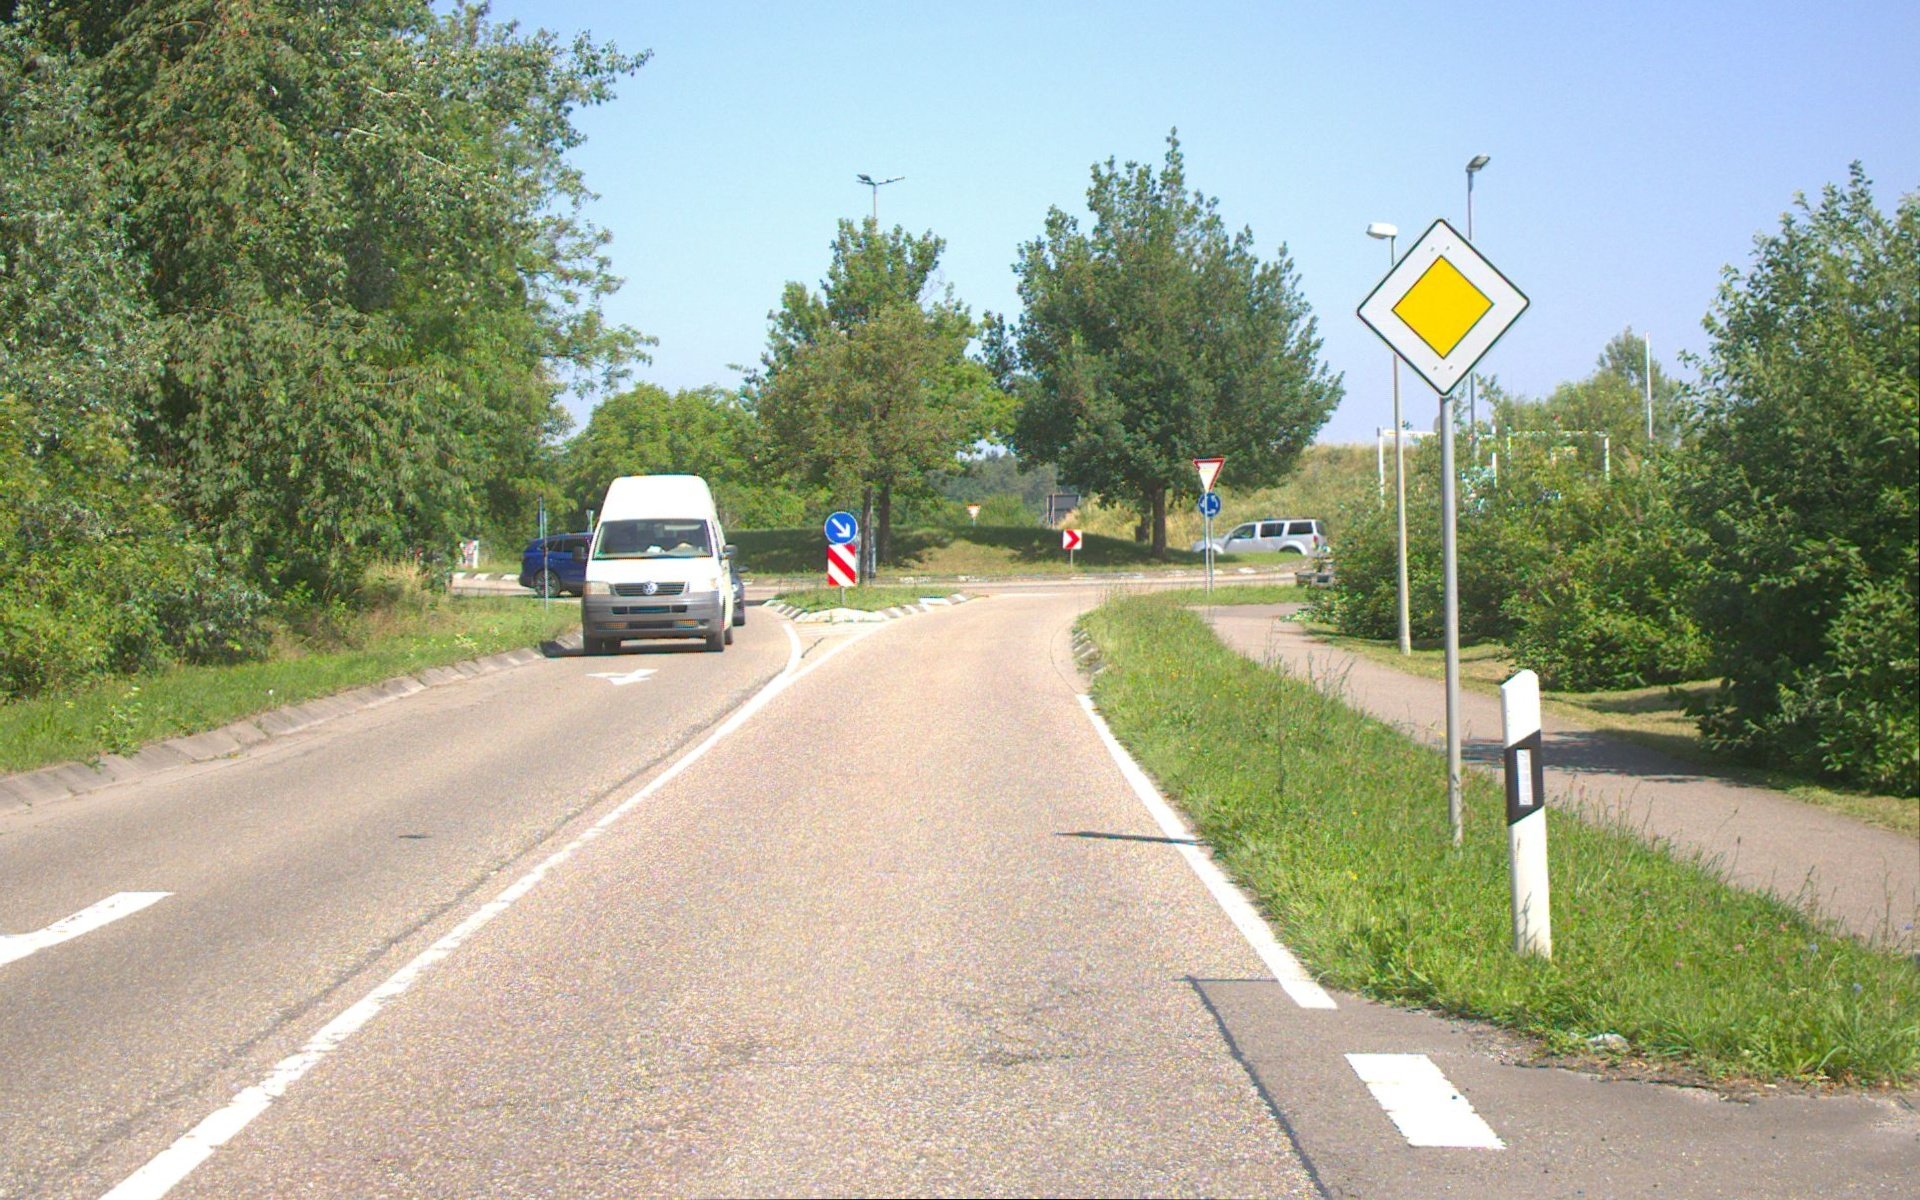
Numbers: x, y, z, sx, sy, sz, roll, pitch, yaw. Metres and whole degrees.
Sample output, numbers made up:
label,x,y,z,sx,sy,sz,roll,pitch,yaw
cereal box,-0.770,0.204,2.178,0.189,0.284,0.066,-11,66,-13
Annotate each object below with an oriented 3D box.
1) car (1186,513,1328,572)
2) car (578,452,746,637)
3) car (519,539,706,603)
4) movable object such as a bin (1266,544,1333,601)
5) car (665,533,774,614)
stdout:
label,x,y,z,sx,sy,sz,roll,pitch,yaw
car,10.084,-1.956,116.654,4.514,1.853,1.999,-1,1,15
car,-4.048,-0.783,47.378,1.912,2.392,4.911,-1,1,-1
car,-8.788,-0.730,86.884,4.419,1.566,1.714,0,2,24
movable object such as a bin,6.912,-0.566,69.943,0.869,1.116,1.453,0,2,28
car,-4.381,-0.515,63.110,1.698,1.384,4.294,-1,1,0
